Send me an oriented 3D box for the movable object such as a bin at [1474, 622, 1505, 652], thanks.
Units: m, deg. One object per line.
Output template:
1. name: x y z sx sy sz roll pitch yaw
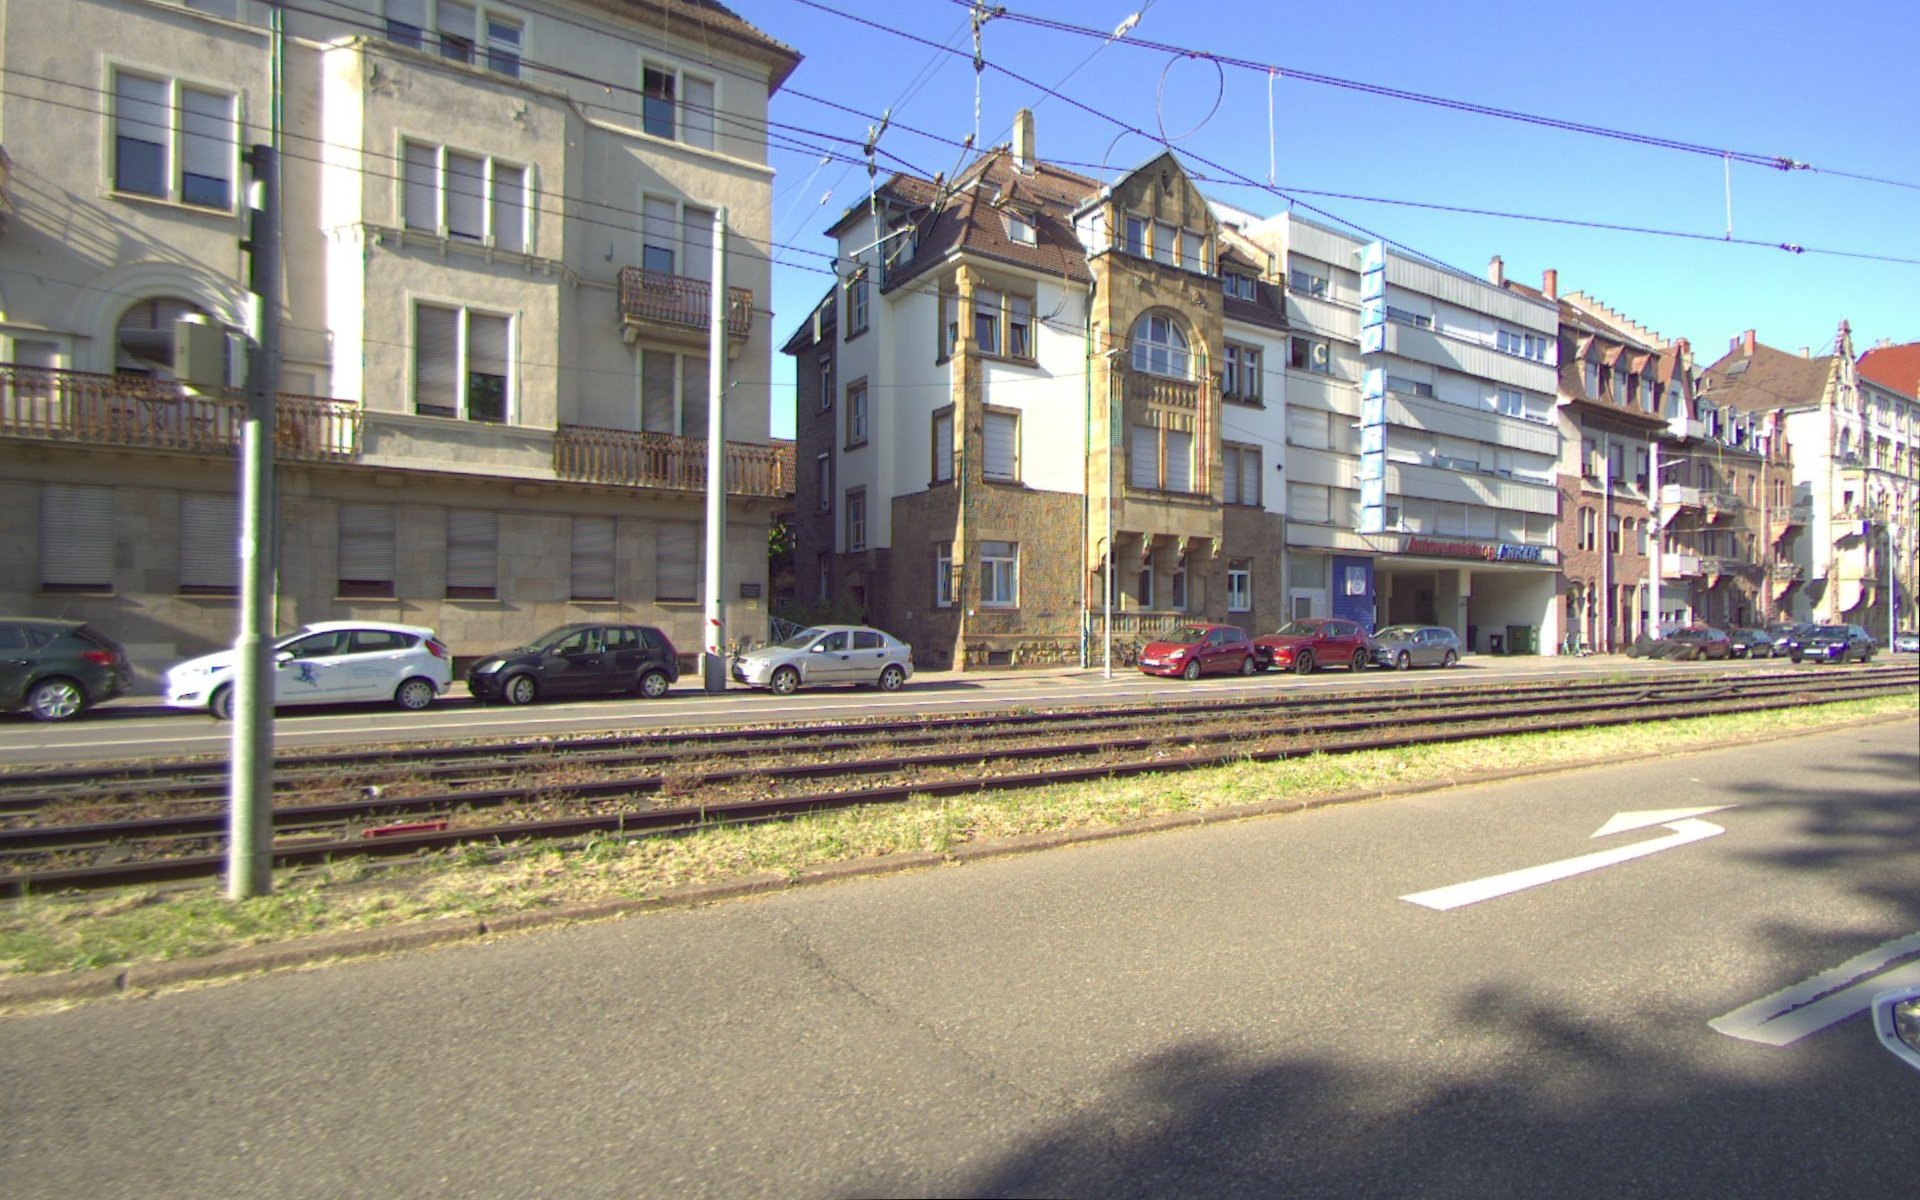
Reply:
1. movable object such as a bin: 25.771 1.799 48.921 0.630 1.389 1.183 1 -1 -39

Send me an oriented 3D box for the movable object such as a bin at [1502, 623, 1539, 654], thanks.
1. movable object such as a bin: 26.685 1.826 47.809 0.630 1.389 1.400 1 -1 -39

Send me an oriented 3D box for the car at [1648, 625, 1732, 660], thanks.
1. car: 34.117 1.950 46.935 4.222 1.479 1.783 1 2 -34

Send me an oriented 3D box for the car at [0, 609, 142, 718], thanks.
1. car: -14.715 0.906 14.664 4.115 1.488 1.625 1 2 -34

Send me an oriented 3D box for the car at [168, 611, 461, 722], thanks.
1. car: -10.651 1.008 16.706 3.949 1.489 1.622 0 5 -39

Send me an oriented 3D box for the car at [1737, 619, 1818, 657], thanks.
1. car: 42.406 1.973 52.108 4.403 1.777 1.785 1 2 -30

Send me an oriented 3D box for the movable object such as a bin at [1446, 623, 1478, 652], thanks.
1. movable object such as a bin: 25.069 1.865 50.180 0.629 1.389 1.258 1 -1 -36

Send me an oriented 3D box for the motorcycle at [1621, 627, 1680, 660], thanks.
1. motorcycle: 31.097 1.935 45.249 2.044 1.345 0.836 3 2 42

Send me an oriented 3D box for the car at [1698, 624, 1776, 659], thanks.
1. car: 38.221 2.014 49.389 3.957 1.530 1.783 1 2 -33

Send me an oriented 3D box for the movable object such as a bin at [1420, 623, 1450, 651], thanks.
1. movable object such as a bin: 24.219 1.893 51.219 0.628 1.389 1.260 1 -1 -32

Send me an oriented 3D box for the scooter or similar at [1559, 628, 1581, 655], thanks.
1. scooter or similar: 28.802 1.955 47.431 1.187 1.222 0.389 1 1 -32

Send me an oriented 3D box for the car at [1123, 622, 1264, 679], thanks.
1. car: 6.734 1.404 28.808 3.999 1.410 1.819 1 2 -38

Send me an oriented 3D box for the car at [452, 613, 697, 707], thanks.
1. car: -7.375 1.079 19.391 4.120 1.489 1.623 1 4 -37

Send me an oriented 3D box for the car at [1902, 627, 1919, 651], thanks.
1. car: 66.007 2.656 68.441 4.142 1.530 1.783 1 2 -34

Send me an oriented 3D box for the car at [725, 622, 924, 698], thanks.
1. car: -2.988 1.269 22.391 4.114 1.488 1.626 1 0 -33

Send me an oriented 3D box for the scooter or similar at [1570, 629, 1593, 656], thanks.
1. scooter or similar: 29.038 1.973 46.915 1.187 1.222 0.389 1 1 -32

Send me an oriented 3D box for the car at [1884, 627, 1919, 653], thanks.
1. car: 61.652 2.566 65.175 3.964 1.530 1.781 1 2 -38

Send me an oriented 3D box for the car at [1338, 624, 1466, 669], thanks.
1. car: 15.176 1.570 34.388 4.633 1.409 1.822 1 -1 -34

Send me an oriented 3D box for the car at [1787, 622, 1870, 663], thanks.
1. car: 35.777 1.742 41.357 4.117 1.622 1.625 1 -3 -35

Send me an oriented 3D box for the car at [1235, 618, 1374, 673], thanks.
1. car: 10.856 1.412 31.543 4.305 1.579 1.823 2 0 -32
